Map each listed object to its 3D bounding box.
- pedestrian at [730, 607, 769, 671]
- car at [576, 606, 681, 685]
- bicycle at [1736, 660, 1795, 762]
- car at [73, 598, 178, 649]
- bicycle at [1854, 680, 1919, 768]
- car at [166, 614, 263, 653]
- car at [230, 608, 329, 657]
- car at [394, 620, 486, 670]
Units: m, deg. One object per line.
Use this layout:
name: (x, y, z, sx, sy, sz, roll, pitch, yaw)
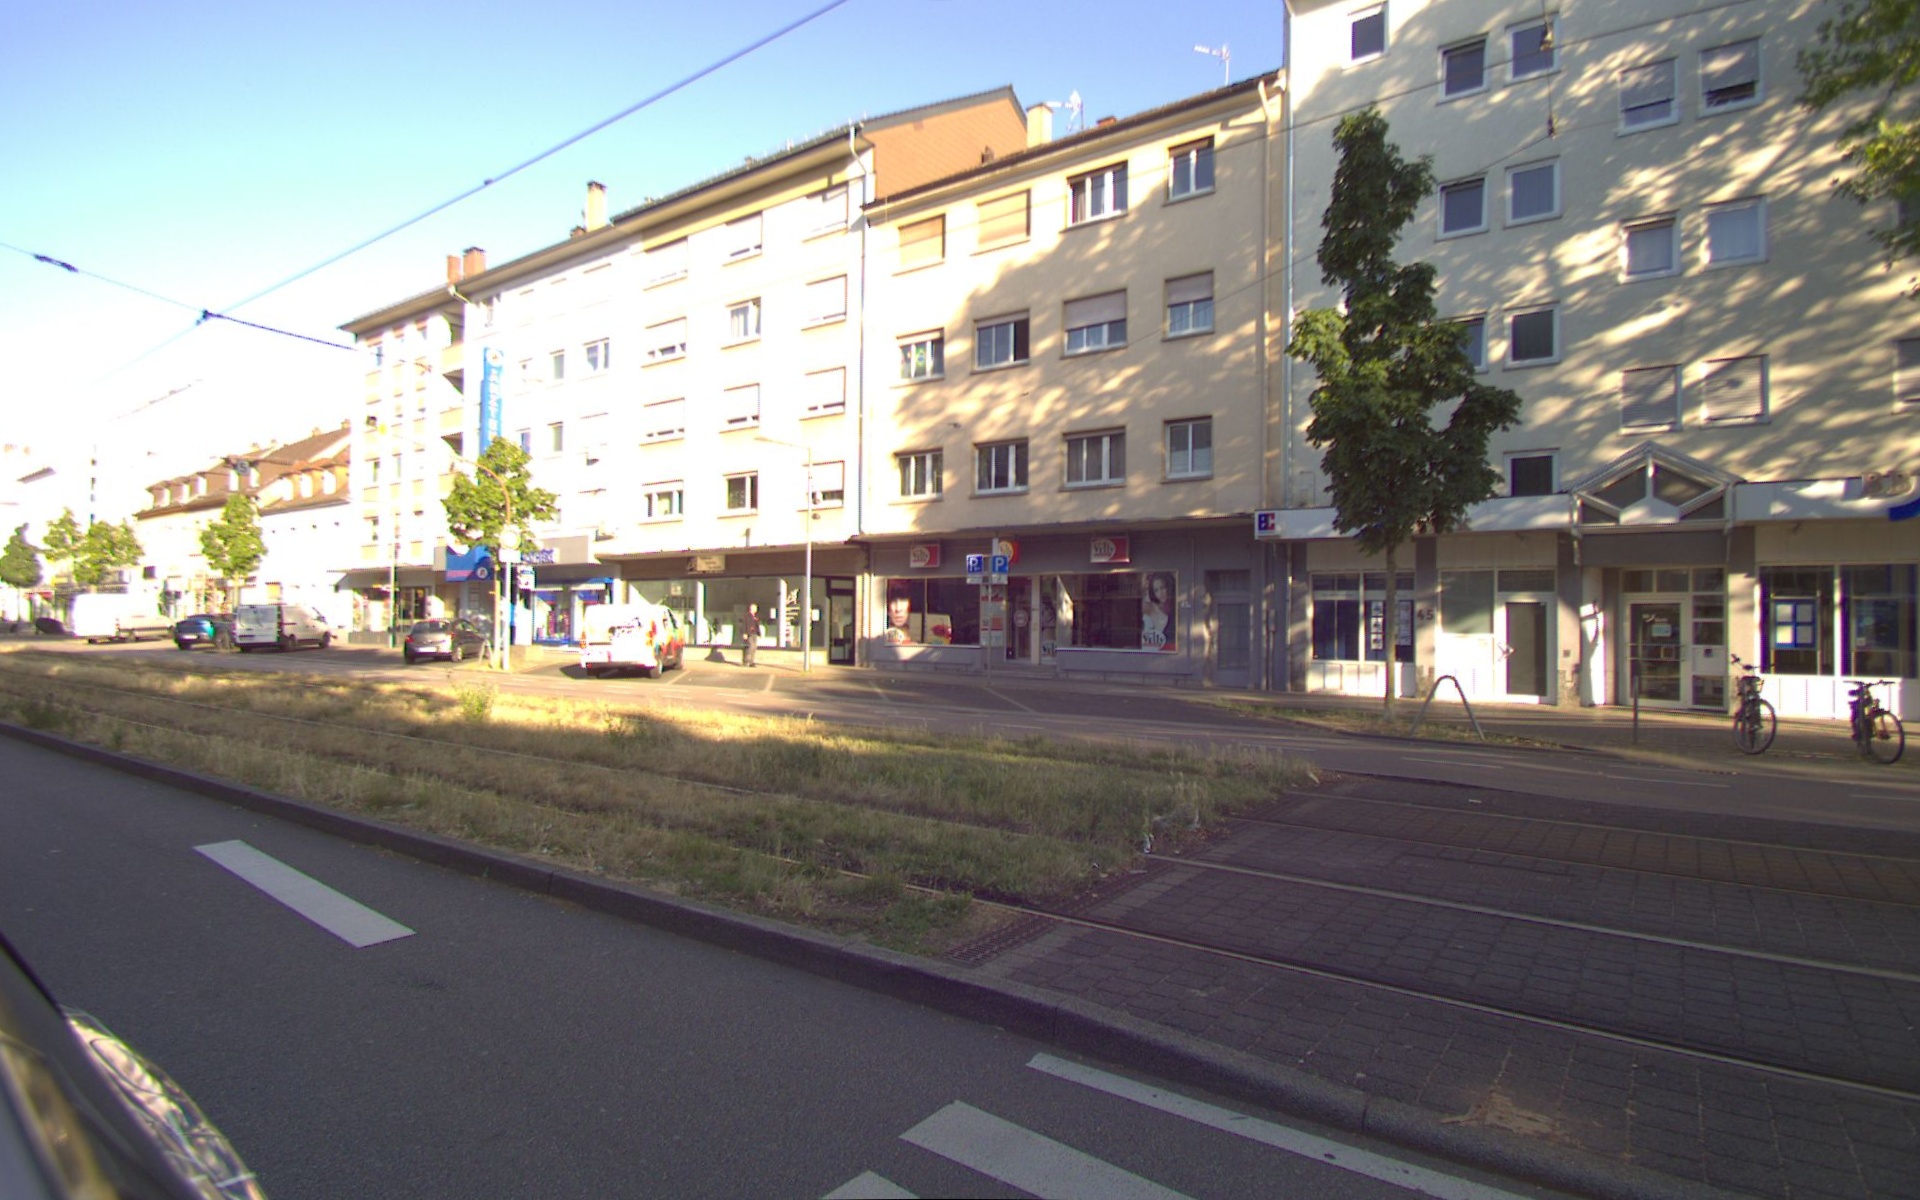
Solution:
pedestrian: (-6.190, 1.143, 29.768, 0.916, 1.841, 0.747, -1, -1, 41)
car: (-8.779, 1.146, 27.120, 1.830, 1.913, 4.005, 0, 0, -6)
bicycle: (10.301, 1.379, 12.977, 0.511, 1.147, 1.724, -1, -1, 36)
car: (-45.354, 1.216, 55.194, 1.895, 2.634, 6.608, 0, 0, -16)
bicycle: (11.335, 1.480, 12.356, 0.471, 0.895, 1.724, -1, -1, 36)
car: (-34.278, 1.506, 46.651, 1.830, 1.727, 3.919, 0, 0, -4)
car: (-28.614, 1.302, 42.727, 1.828, 1.952, 4.514, 0, 0, -10)
car: (-17.567, 1.475, 34.368, 1.708, 1.508, 4.009, 0, 0, -10)
